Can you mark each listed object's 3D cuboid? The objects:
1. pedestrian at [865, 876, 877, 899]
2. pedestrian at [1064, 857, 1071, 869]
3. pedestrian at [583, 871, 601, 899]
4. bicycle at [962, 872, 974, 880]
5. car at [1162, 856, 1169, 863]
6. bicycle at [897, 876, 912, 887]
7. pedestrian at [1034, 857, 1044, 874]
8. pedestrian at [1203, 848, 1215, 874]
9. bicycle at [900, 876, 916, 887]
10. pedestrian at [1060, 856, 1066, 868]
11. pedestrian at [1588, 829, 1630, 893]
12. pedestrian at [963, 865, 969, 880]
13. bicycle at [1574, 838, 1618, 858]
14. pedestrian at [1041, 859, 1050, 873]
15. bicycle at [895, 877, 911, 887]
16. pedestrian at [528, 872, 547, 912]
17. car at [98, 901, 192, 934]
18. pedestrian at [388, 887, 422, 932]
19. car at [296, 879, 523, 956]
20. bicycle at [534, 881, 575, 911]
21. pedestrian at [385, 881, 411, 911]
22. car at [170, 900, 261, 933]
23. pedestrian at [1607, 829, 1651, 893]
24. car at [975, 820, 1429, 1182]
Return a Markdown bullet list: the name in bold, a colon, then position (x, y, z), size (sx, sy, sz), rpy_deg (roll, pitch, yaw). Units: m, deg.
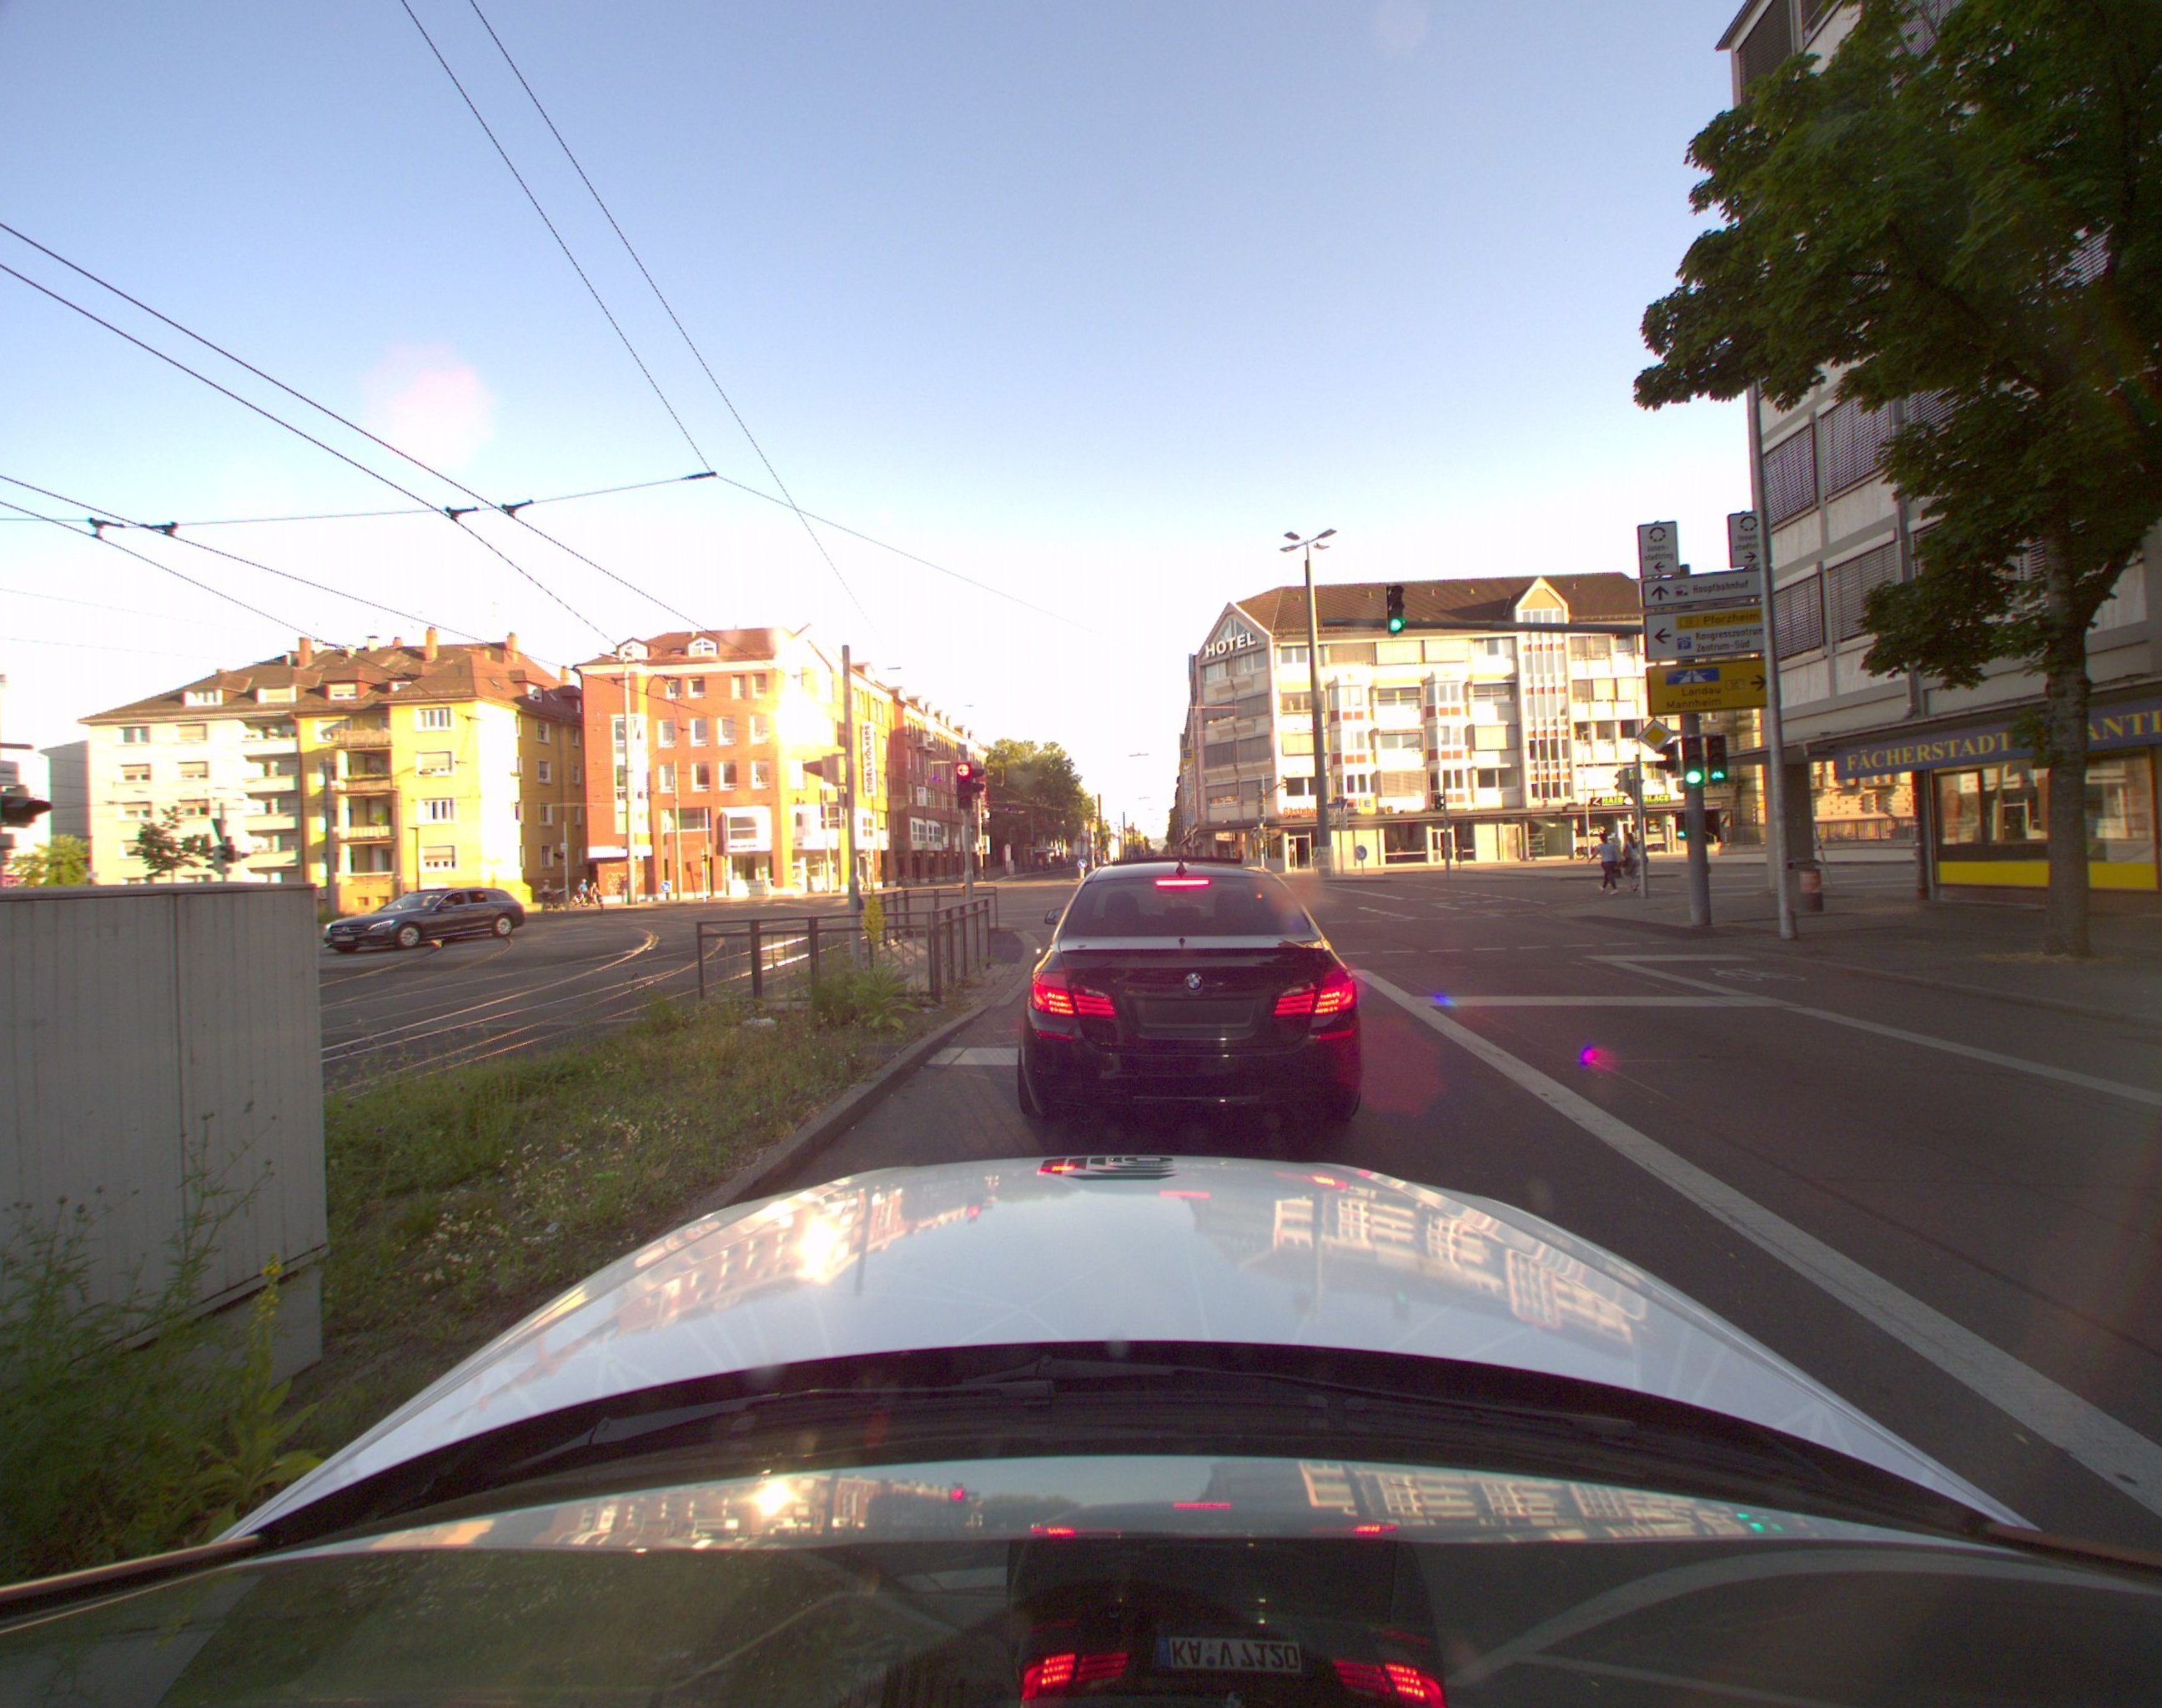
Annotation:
- **pedestrian**: position (-17.153, 2.707, 66.635), size (0.626, 1.868, 0.683), rpy_deg (-1, 0, 32)
- **pedestrian**: position (-1.979, 1.273, 119.006), size (0.719, 1.681, 0.993), rpy_deg (-3, -1, 8)
- **pedestrian**: position (-33.331, 2.094, 55.563), size (0.802, 1.868, 0.663), rpy_deg (-1, 0, -2)
- **bicycle**: position (-13.256, 2.618, 95.482), size (1.412, 0.922, 0.402), rpy_deg (-1, 0, -8)
- **car**: position (20.146, 1.351, 193.478), size (1.466, 1.515, 3.100), rpy_deg (-3, 0, 5)
- **bicycle**: position (-15.909, 2.504, 73.399), size (1.286, 0.922, 0.348), rpy_deg (-1, 0, -11)
- **pedestrian**: position (-4.840, 1.329, 94.152), size (0.983, 2.014, 0.727), rpy_deg (-1, -1, 4)
- **pedestrian**: position (9.348, 0.536, 59.618), size (0.682, 1.854, 0.671), rpy_deg (-3, -1, 2)
- **bicycle**: position (-15.875, 2.528, 74.796), size (1.413, 0.922, 0.442), rpy_deg (-1, 0, -10)
- **pedestrian**: position (-2.568, 1.107, 117.088), size (0.719, 1.681, 0.993), rpy_deg (-3, -1, 8)
- **pedestrian**: position (14.068, 0.188, 21.713), size (0.680, 1.667, 0.673), rpy_deg (-3, -1, 9)
- **pedestrian**: position (-13.328, 2.110, 94.251), size (0.483, 1.681, 0.657), rpy_deg (-3, -1, 10)
- **bicycle**: position (34.881, -0.403, 55.152), size (2.397, 1.265, 0.823), rpy_deg (-3, 0, 0)
- **pedestrian**: position (-4.308, 1.476, 99.391), size (0.983, 1.681, 0.727), rpy_deg (-3, -1, 4)
- **bicycle**: position (-15.913, 2.502, 72.871), size (1.281, 0.922, 0.349), rpy_deg (-1, 0, 1)
- **pedestrian**: position (-25.620, 1.787, 38.415), size (0.500, 1.868, 0.563), rpy_deg (-1, 0, 0)
- **car**: position (-63.467, 4.298, 55.278), size (3.975, 2.014, 1.999), rpy_deg (-1, 0, -1)
- **pedestrian**: position (-29.663, 2.419, 35.736), size (0.828, 1.868, 0.949), rpy_deg (-1, 0, 36)
- **car**: position (-17.231, 1.553, 21.265), size (1.985, 1.585, 4.483), rpy_deg (-3, 0, 3)
- **bicycle**: position (-25.036, 1.977, 38.763), size (0.615, 1.325, 2.016), rpy_deg (-1, 0, 2)
- **pedestrian**: position (-44.252, 2.736, 52.776), size (0.938, 1.868, 0.838), rpy_deg (-1, 0, -4)
- **car**: position (-58.779, 4.211, 55.336), size (3.975, 2.014, 1.999), rpy_deg (-1, 0, -1)
- **pedestrian**: position (14.842, 0.187, 22.064), size (0.719, 1.667, 0.673), rpy_deg (-3, -1, 9)
- **car**: position (0.586, 0.648, 5.592), size (1.986, 1.585, 4.001), rpy_deg (0, 0, 1)
